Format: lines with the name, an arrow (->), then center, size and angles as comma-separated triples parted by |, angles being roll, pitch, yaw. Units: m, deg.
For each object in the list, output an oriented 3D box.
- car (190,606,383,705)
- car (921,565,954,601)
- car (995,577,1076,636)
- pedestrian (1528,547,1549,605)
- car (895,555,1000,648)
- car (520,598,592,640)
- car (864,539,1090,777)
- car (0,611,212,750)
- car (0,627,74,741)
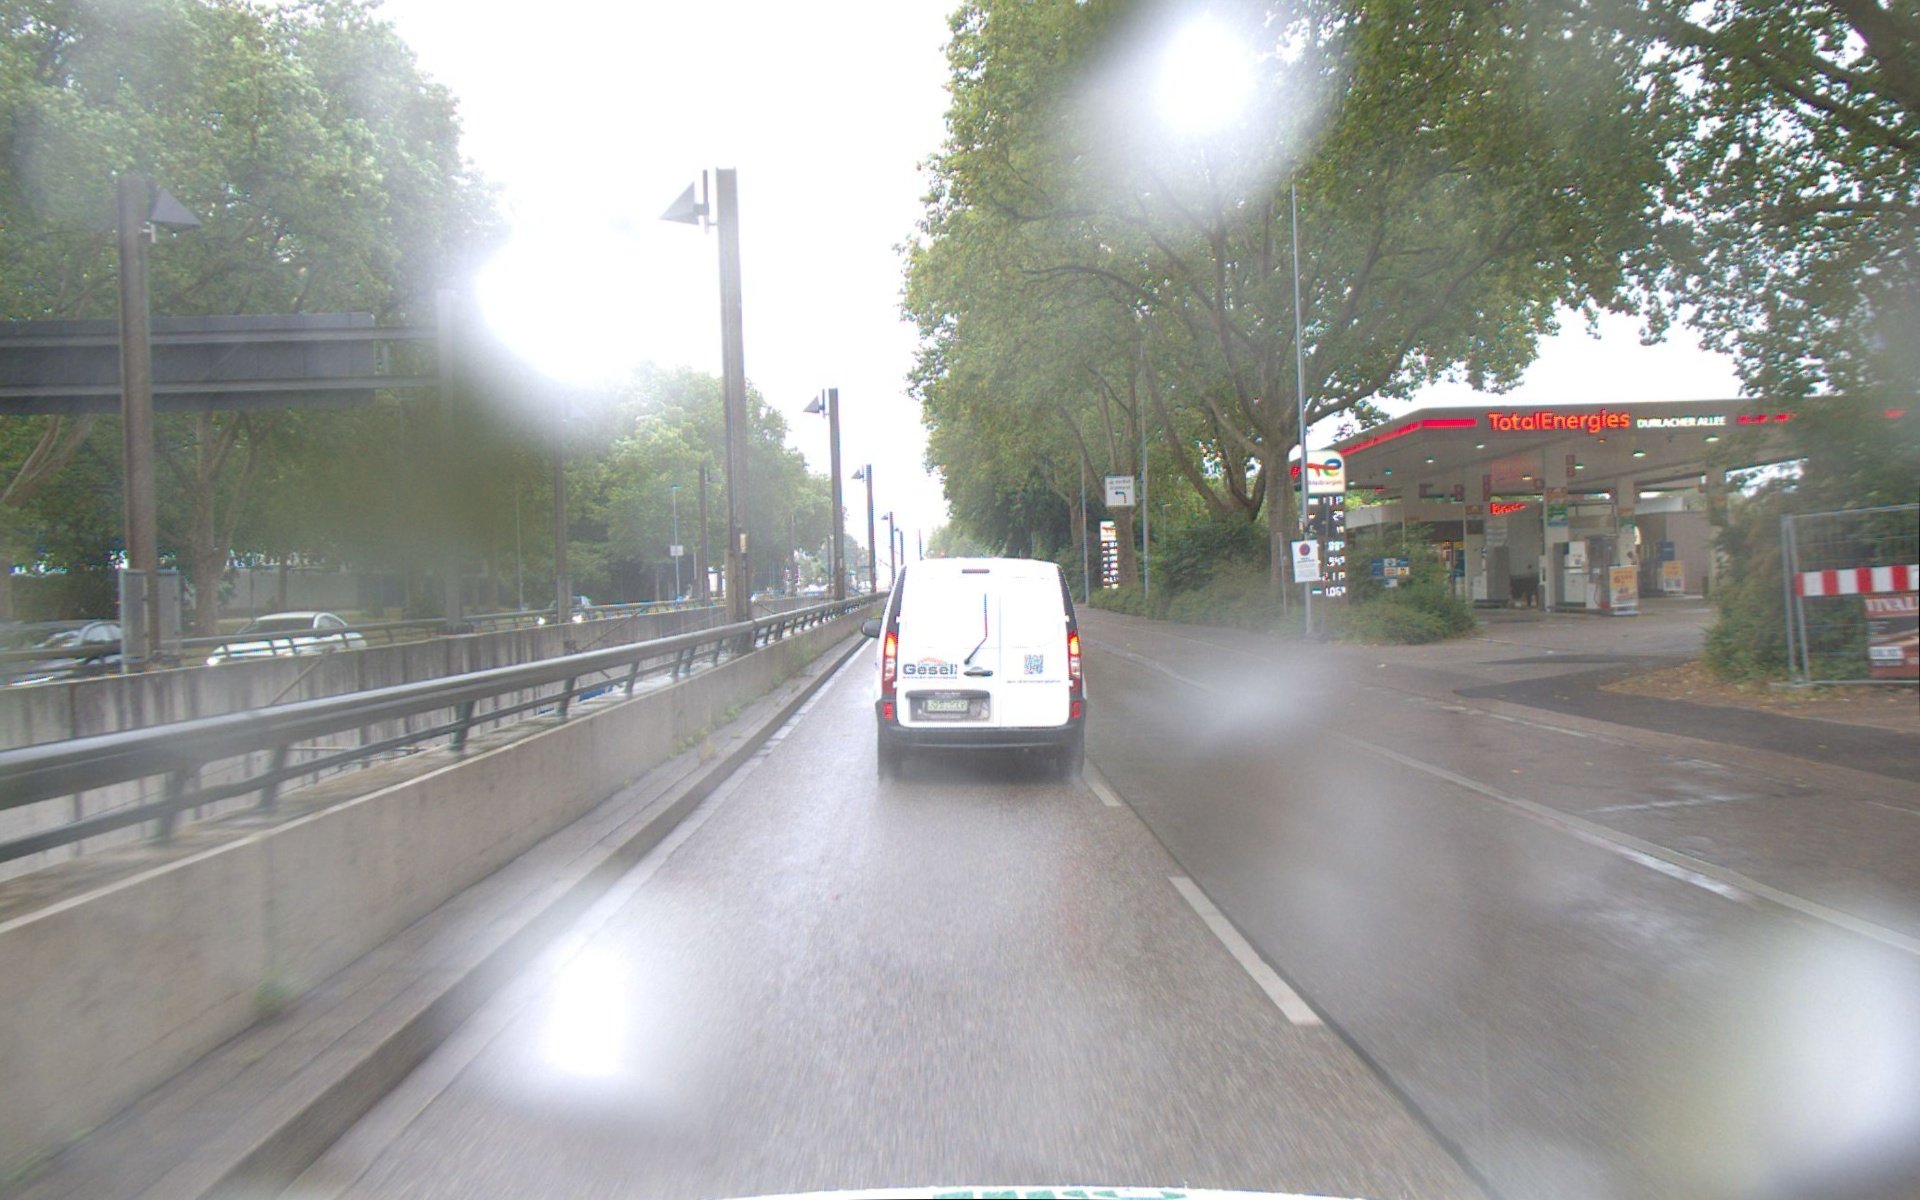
car -> -12.776, 0.996, 31.702 | 1.954, 1.661, 4.578 | -2, 0, -3
car -> -1.443, -1.083, 107.197 | 2.006, 2.177, 4.000 | -2, 0, 0
car -> 2.228, 0.180, 49.823 | 1.954, 1.612, 3.997 | -3, 0, -4
pedestrian -> 17.664, -0.732, 50.514 | 0.542, 1.755, 0.726 | -2, 0, 18
car -> -0.272, 0.018, 32.604 | 1.879, 1.637, 3.999 | -2, 0, -1
car -> -16.864, 0.758, 69.222 | 1.868, 1.598, 4.001 | -2, 1, 1
car -> 0.051, 0.424, 14.672 | 1.720, 1.808, 3.998 | 0, 0, -2
car -> -12.244, 1.043, 22.811 | 1.953, 1.661, 4.088 | -2, 0, 0
car -> -15.344, 1.320, 24.867 | 1.809, 1.661, 4.088 | -2, 0, 0
